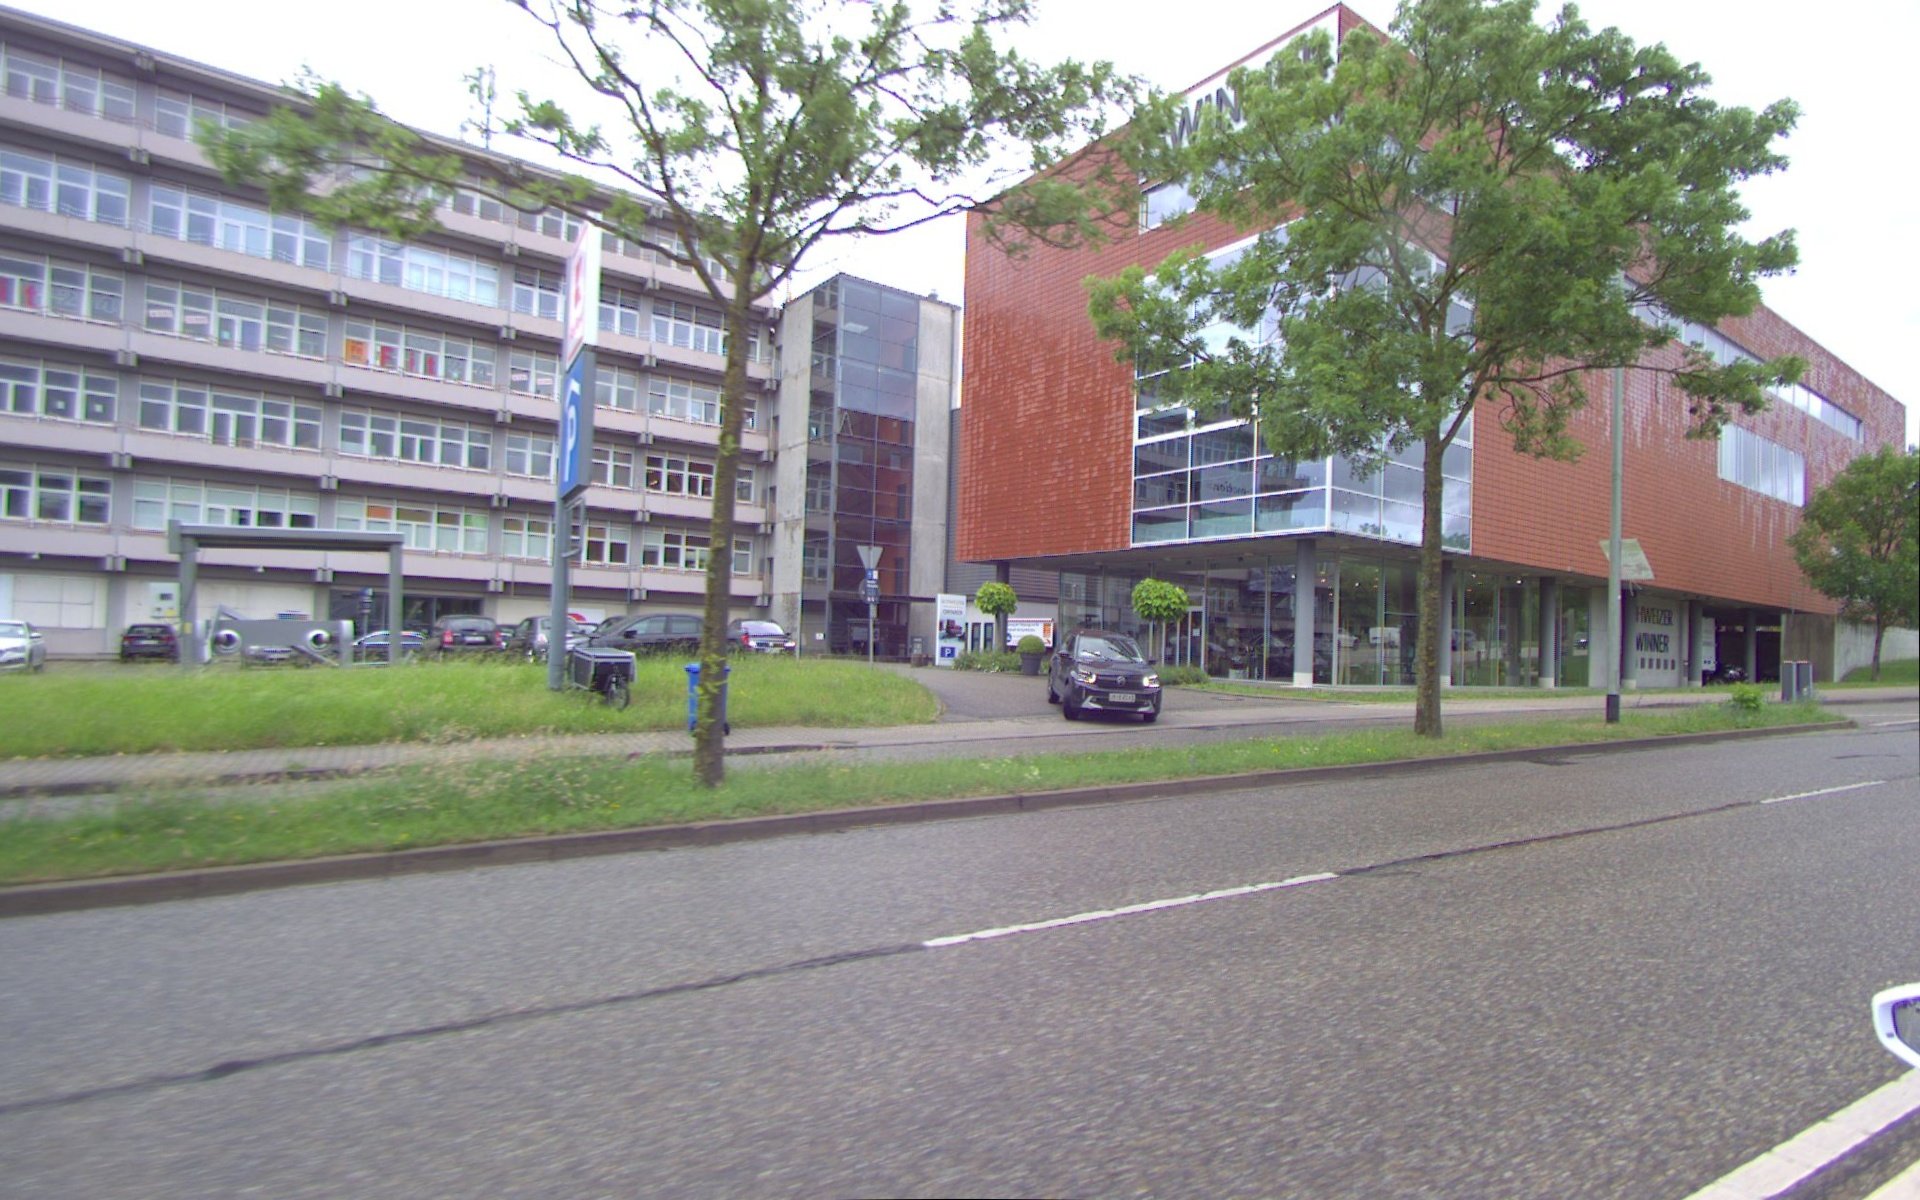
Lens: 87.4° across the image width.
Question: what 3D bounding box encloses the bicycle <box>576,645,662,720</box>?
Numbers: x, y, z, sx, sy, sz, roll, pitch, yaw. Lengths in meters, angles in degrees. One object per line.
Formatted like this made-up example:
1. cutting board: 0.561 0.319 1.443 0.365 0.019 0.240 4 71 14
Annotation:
1. bicycle: -5.626 1.316 16.479 1.079 0.948 2.069 2 2 -26

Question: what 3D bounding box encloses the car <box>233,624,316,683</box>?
1. car: -20.863 1.561 30.505 1.831 1.530 4.243 0 0 -38

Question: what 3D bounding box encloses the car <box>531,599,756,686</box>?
1. car: -7.217 0.882 23.026 4.558 1.797 2.125 0 0 -33

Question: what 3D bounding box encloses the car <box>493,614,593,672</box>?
1. car: -12.625 1.234 30.297 1.803 1.530 4.077 0 0 -38

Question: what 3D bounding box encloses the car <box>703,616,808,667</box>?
1. car: -7.027 1.370 34.234 1.884 1.530 4.158 0 0 -38

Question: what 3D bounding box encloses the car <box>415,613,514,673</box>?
1. car: -14.367 1.185 29.037 1.803 1.530 4.077 0 0 -38

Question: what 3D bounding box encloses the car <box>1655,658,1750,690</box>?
1. car: 37.199 3.694 50.399 1.501 1.301 3.523 2 0 -27

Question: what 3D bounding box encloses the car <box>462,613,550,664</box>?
1. car: -15.342 1.234 33.852 1.803 1.530 4.077 0 0 -38

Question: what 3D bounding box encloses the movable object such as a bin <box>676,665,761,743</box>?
1. movable object such as a bin: -3.680 1.562 15.309 1.073 1.093 0.815 1 -1 -30

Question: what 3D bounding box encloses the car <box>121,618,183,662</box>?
1. car: -31.758 1.527 39.575 1.831 1.530 4.243 0 0 -38

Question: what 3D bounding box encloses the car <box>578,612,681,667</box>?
1. car: -10.502 1.184 31.732 1.803 1.530 4.158 0 0 -38

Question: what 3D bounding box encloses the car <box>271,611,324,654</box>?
1. car: -29.247 1.387 44.299 1.783 1.755 3.958 0 0 -37

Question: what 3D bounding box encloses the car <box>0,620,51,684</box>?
1. car: -25.715 1.354 26.787 1.831 1.530 4.243 0 0 -38

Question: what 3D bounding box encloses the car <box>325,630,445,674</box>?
1. car: -22.746 2.004 39.806 3.962 1.530 1.781 0 0 -37

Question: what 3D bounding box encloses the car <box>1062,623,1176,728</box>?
1. car: 3.071 1.410 20.202 1.764 1.705 4.284 1 1 2
